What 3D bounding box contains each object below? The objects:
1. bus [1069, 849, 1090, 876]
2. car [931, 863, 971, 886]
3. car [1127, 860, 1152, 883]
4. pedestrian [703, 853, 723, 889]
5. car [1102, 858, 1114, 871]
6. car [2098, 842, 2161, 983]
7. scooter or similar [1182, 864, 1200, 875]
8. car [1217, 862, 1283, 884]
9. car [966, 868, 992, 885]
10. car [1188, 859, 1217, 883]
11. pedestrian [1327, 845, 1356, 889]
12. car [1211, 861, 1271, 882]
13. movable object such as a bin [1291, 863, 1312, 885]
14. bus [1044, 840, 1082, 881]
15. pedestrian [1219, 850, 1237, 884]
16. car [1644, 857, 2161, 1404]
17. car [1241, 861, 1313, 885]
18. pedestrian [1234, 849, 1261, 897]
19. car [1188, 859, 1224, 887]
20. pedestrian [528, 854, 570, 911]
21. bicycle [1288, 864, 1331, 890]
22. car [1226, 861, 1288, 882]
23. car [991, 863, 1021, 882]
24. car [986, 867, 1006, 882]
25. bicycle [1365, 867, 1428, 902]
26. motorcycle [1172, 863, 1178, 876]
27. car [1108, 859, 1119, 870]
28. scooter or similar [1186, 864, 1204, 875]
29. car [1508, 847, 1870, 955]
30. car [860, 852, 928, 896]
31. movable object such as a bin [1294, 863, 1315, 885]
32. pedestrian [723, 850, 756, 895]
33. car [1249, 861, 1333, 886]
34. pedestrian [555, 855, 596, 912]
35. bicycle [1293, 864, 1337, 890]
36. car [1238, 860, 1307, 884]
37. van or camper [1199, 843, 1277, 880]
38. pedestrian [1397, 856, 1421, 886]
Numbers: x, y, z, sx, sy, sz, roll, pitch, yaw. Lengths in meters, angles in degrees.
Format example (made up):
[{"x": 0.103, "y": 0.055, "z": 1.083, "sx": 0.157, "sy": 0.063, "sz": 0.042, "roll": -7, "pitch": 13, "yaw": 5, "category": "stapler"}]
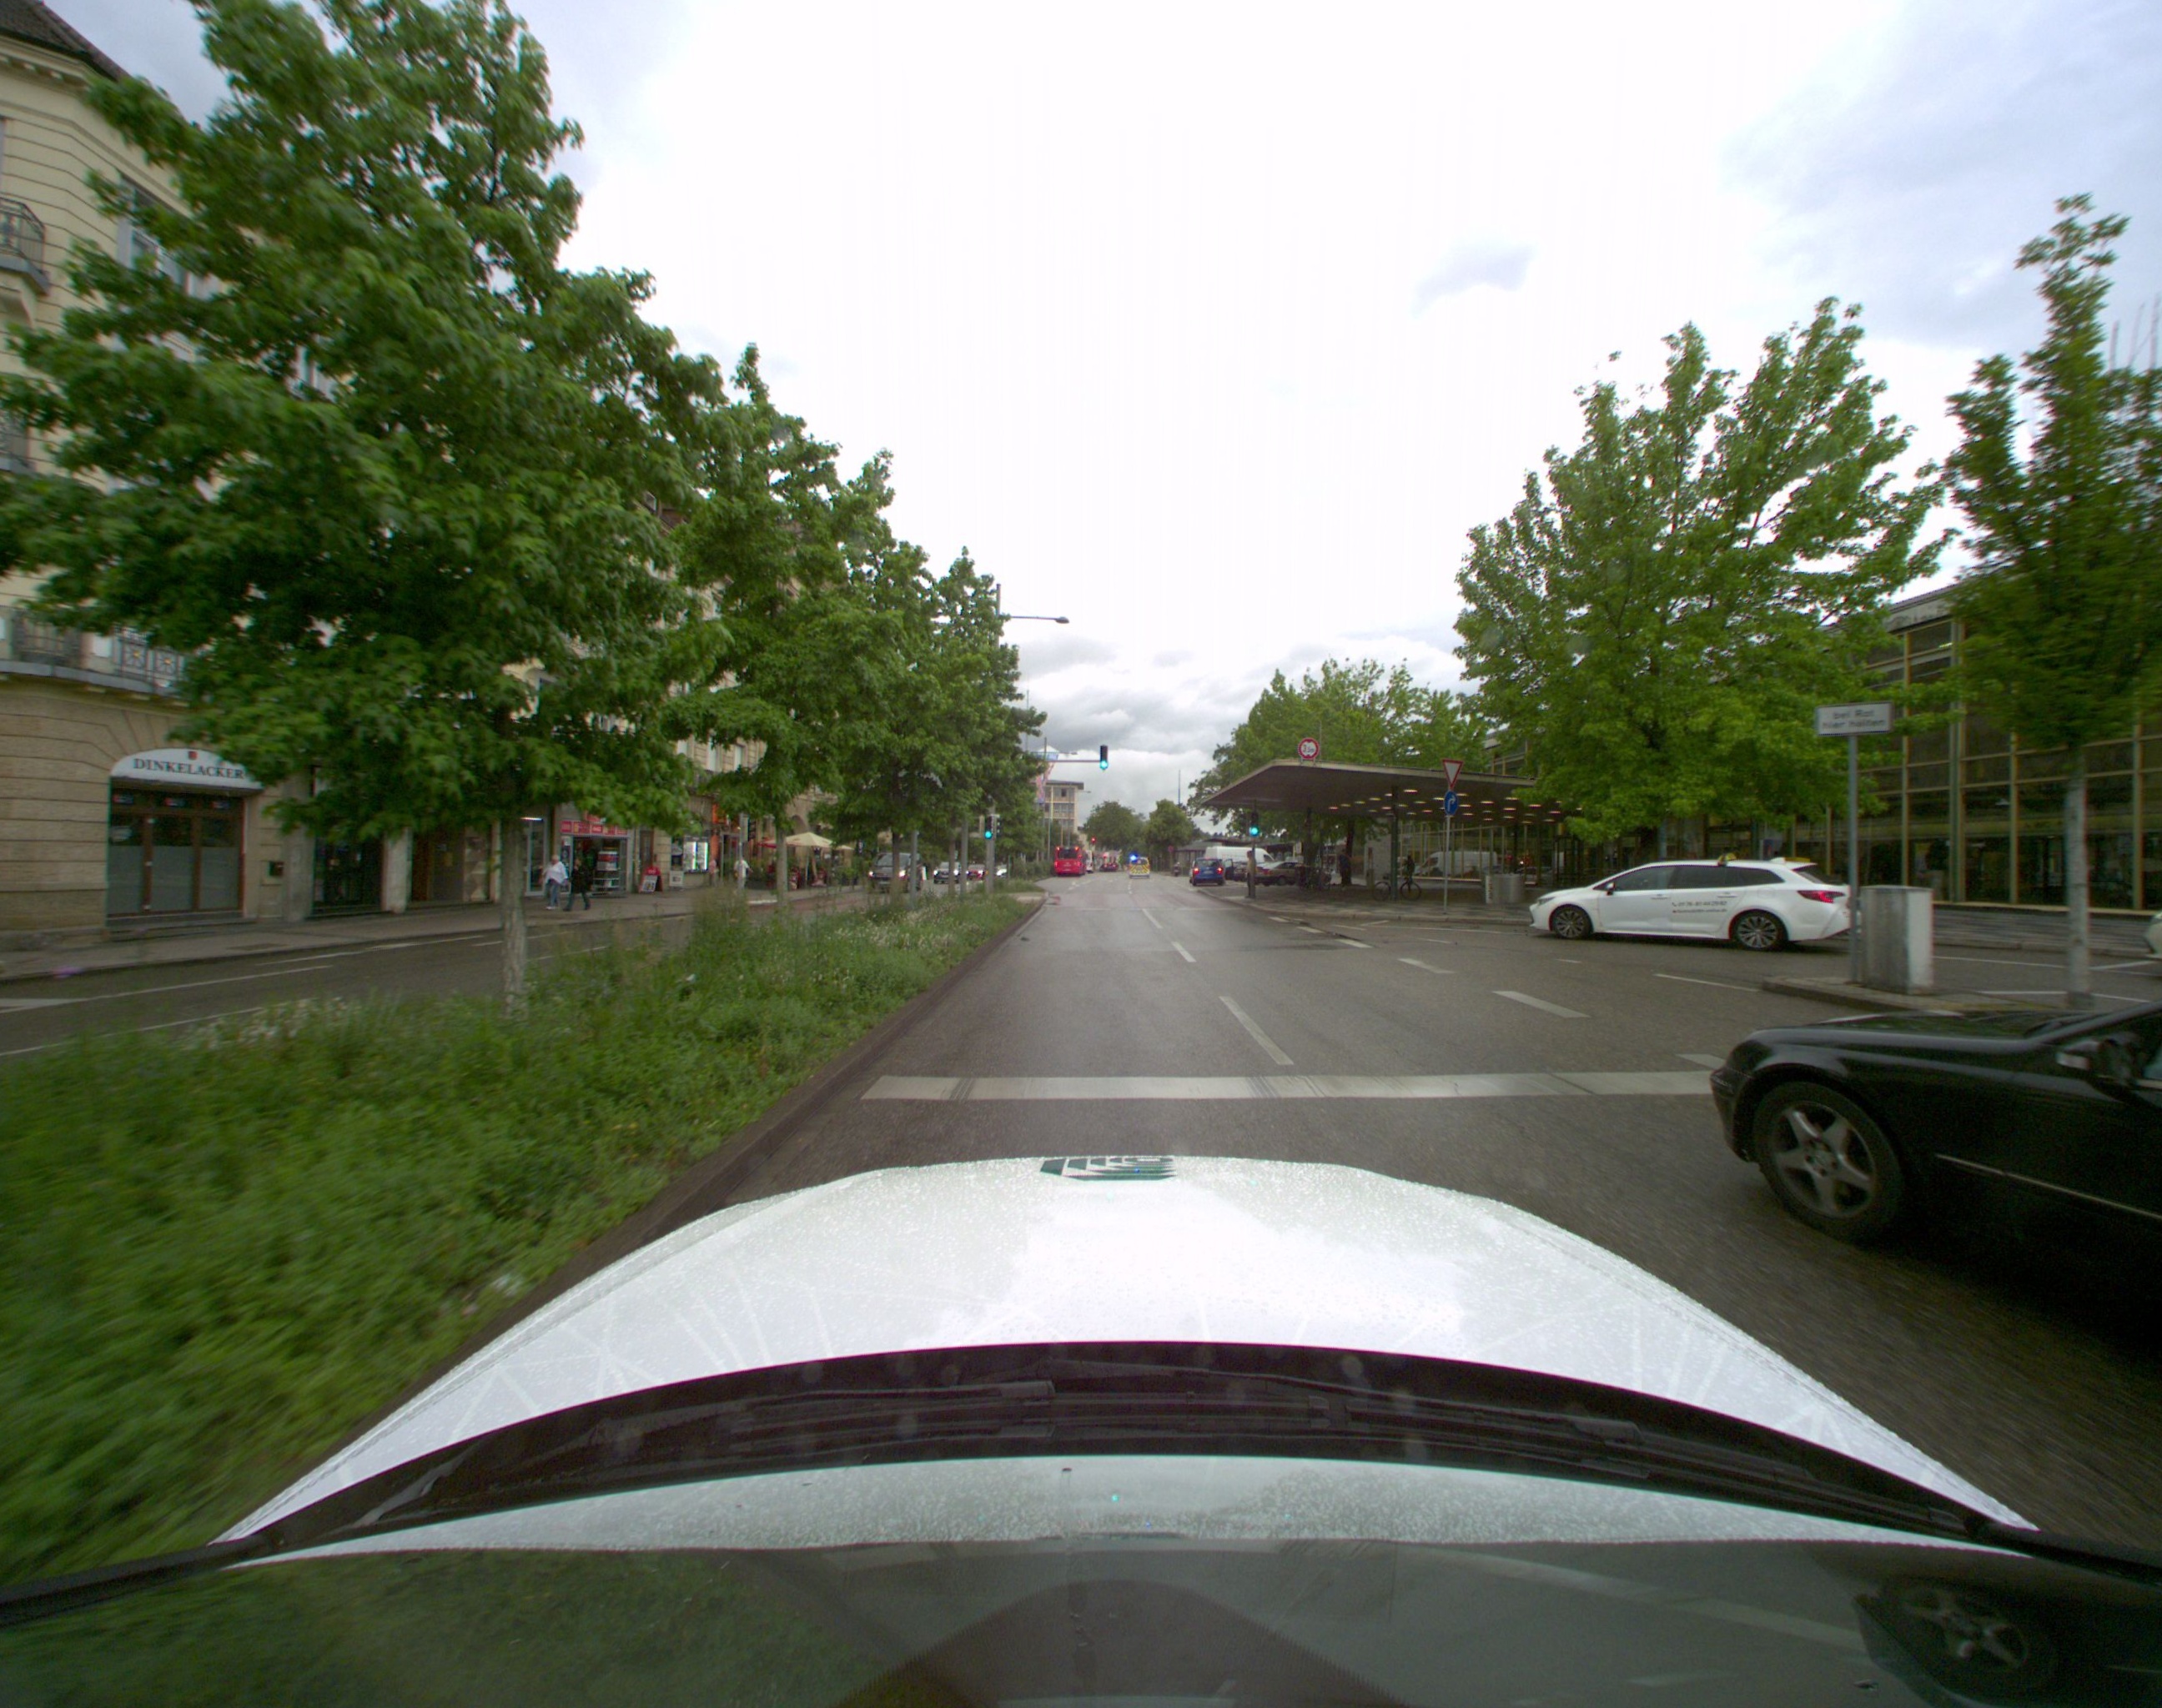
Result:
[{"x": -0.241, "y": 1.249, "z": 116.881, "sx": 2.796, "sy": 3.747, "sz": 10.442, "roll": 0, "pitch": -1, "yaw": 0, "category": "bus"}, {"x": -9.396, "y": 1.427, "z": 59.054, "sx": 1.986, "sy": 1.543, "sz": 4.634, "roll": -2, "pitch": -1, "yaw": 2, "category": "car"}, {"x": 5.387, "y": 1.581, "z": 75.475, "sx": 1.986, "sy": 2.014, "sz": 5.063, "roll": -2, "pitch": -1, "yaw": 1, "category": "car"}, {"x": -17.277, "y": 0.779, "z": 38.228, "sx": 0.666, "sy": 1.664, "sz": 0.535, "roll": -1, "pitch": -1, "yaw": -7, "category": "pedestrian"}, {"x": 4.528, "y": 1.721, "z": 136.195, "sx": 1.986, "sy": 2.014, "sz": 4.001, "roll": -2, "pitch": -1, "yaw": 2, "category": "car"}, {"x": 13.541, "y": 0.631, "z": 7.478, "sx": 1.991, "sy": 1.599, "sz": 4.947, "roll": -2, "pitch": 0, "yaw": -6, "category": "car"}, {"x": 11.520, "y": 1.648, "z": 85.226, "sx": 2.161, "sy": 1.110, "sz": 0.423, "roll": -1, "pitch": -1, "yaw": -38, "category": "scooter or similar"}, {"x": 11.333, "y": 1.265, "z": 54.525, "sx": 4.006, "sy": 1.443, "sz": 1.849, "roll": 0, "pitch": -1, "yaw": -25, "category": "car"}, {"x": -9.120, "y": 2.038, "z": 73.173, "sx": 1.740, "sy": 1.430, "sz": 3.954, "roll": -2, "pitch": -1, "yaw": 2, "category": "car"}, {"x": 8.041, "y": 1.106, "z": 54.284, "sx": 1.778, "sy": 1.523, "sz": 3.688, "roll": -1, "pitch": -1, "yaw": 6, "category": "car"}, {"x": 11.231, "y": 0.565, "z": 35.123, "sx": 0.853, "sy": 1.835, "sz": 1.190, "roll": -1, "pitch": -2, "yaw": 1, "category": "pedestrian"}, {"x": 11.727, "y": 1.263, "z": 59.563, "sx": 4.006, "sy": 1.443, "sz": 1.849, "roll": 0, "pitch": -1, "yaw": -25, "category": "car"}, {"x": 11.173, "y": 1.013, "z": 41.360, "sx": 0.751, "sy": 1.095, "sz": 0.746, "roll": -1, "pitch": -1, "yaw": -11, "category": "movable object such as a bin"}, {"x": -1.757, "y": 0.758, "z": 87.350, "sx": 3.532, "sy": 3.979, "sz": 11.172, "roll": -2, "pitch": -1, "yaw": 1, "category": "bus"}, {"x": 8.772, "y": 0.762, "z": 48.759, "sx": 0.829, "sy": 2.014, "sz": 0.888, "roll": -2, "pitch": -1, "yaw": -3, "category": "pedestrian"}, {"x": 3.818, "y": 0.745, "z": 1.887, "sx": 1.692, "sy": 1.466, "sz": 4.444, "roll": -2, "pitch": -1, "yaw": -4, "category": "car"}, {"x": 11.750, "y": 1.110, "z": 48.815, "sx": 4.011, "sy": 1.359, "sz": 1.847, "roll": 0, "pitch": -1, "yaw": -29, "category": "car"}, {"x": 6.192, "y": 0.715, "z": 30.267, "sx": 0.745, "sy": 1.747, "sz": 0.834, "roll": -1, "pitch": -2, "yaw": -7, "category": "pedestrian"}, {"x": 7.363, "y": 1.132, "z": 48.334, "sx": 1.849, "sy": 1.569, "sz": 4.005, "roll": -1, "pitch": -1, "yaw": 5, "category": "car"}, {"x": -15.882, "y": 0.836, "z": 24.337, "sx": 0.678, "sy": 1.664, "sz": 0.808, "roll": -2, "pitch": -1, "yaw": 4, "category": "pedestrian"}, {"x": 9.785, "y": 0.965, "z": 34.836, "sx": 1.832, "sy": 1.056, "sz": 0.418, "roll": -1, "pitch": -1, "yaw": -17, "category": "bicycle"}, {"x": 12.399, "y": 1.213, "z": 57.354, "sx": 4.006, "sy": 1.443, "sz": 1.849, "roll": 0, "pitch": -1, "yaw": -25, "category": "car"}, {"x": -6.460, "y": 1.587, "z": 70.474, "sx": 1.986, "sy": 1.543, "sz": 4.634, "roll": -2, "pitch": -1, "yaw": 2, "category": "car"}, {"x": -9.329, "y": 2.277, "z": 89.574, "sx": 1.592, "sy": 1.531, "sz": 3.654, "roll": -2, "pitch": -1, "yaw": 2, "category": "car"}, {"x": 10.048, "y": 0.956, "z": 25.976, "sx": 1.821, "sy": 1.056, "sz": 0.420, "roll": -2, "pitch": -1, "yaw": 1, "category": "bicycle"}, {"x": 9.562, "y": 1.553, "z": 82.541, "sx": 0.592, "sy": 1.288, "sz": 1.957, "roll": -1, "pitch": -1, "yaw": 7, "category": "motorcycle"}, {"x": 6.075, "y": 1.914, "z": 151.530, "sx": 1.986, "sy": 2.014, "sz": 4.001, "roll": -2, "pitch": -1, "yaw": 2, "category": "car"}, {"x": 11.852, "y": 1.630, "z": 84.854, "sx": 2.161, "sy": 1.110, "sz": 0.438, "roll": -1, "pitch": -1, "yaw": -38, "category": "scooter or similar"}, {"x": 10.255, "y": 0.732, "z": 14.139, "sx": 1.772, "sy": 1.546, "sz": 4.722, "roll": 0, "pitch": -1, "yaw": -38, "category": "car"}, {"x": -9.397, "y": 0.983, "z": 41.278, "sx": 1.985, "sy": 2.014, "sz": 5.005, "roll": -2, "pitch": -1, "yaw": 3, "category": "car"}, {"x": 11.048, "y": 0.992, "z": 40.251, "sx": 0.750, "sy": 1.067, "sz": 0.747, "roll": -2, "pitch": -1, "yaw": -8, "category": "movable object such as a bin"}, {"x": -14.407, "y": 0.782, "z": 34.360, "sx": 0.876, "sy": 1.812, "sz": 0.750, "roll": -6, "pitch": -1, "yaw": 1, "category": "pedestrian"}, {"x": 11.626, "y": 1.064, "z": 45.150, "sx": 4.197, "sy": 1.325, "sz": 1.828, "roll": 0, "pitch": -1, "yaw": -19, "category": "car"}, {"x": -15.090, "y": 0.864, "z": 24.319, "sx": 0.679, "sy": 1.664, "sz": 0.807, "roll": -2, "pitch": -1, "yaw": 1, "category": "pedestrian"}, {"x": 9.885, "y": 0.965, "z": 34.386, "sx": 1.832, "sy": 1.056, "sz": 0.418, "roll": -1, "pitch": -1, "yaw": -17, "category": "bicycle"}, {"x": 12.193, "y": 1.152, "z": 51.875, "sx": 4.006, "sy": 1.443, "sz": 1.849, "roll": 0, "pitch": -1, "yaw": -25, "category": "car"}, {"x": 12.661, "y": 0.598, "z": 65.615, "sx": 5.977, "sy": 2.763, "sz": 2.180, "roll": -1, "pitch": -1, "yaw": -26, "category": "van or camper"}, {"x": 17.368, "y": 0.917, "z": 43.142, "sx": 0.864, "sy": 1.559, "sz": 0.812, "roll": -2, "pitch": -1, "yaw": -6, "category": "pedestrian"}]
